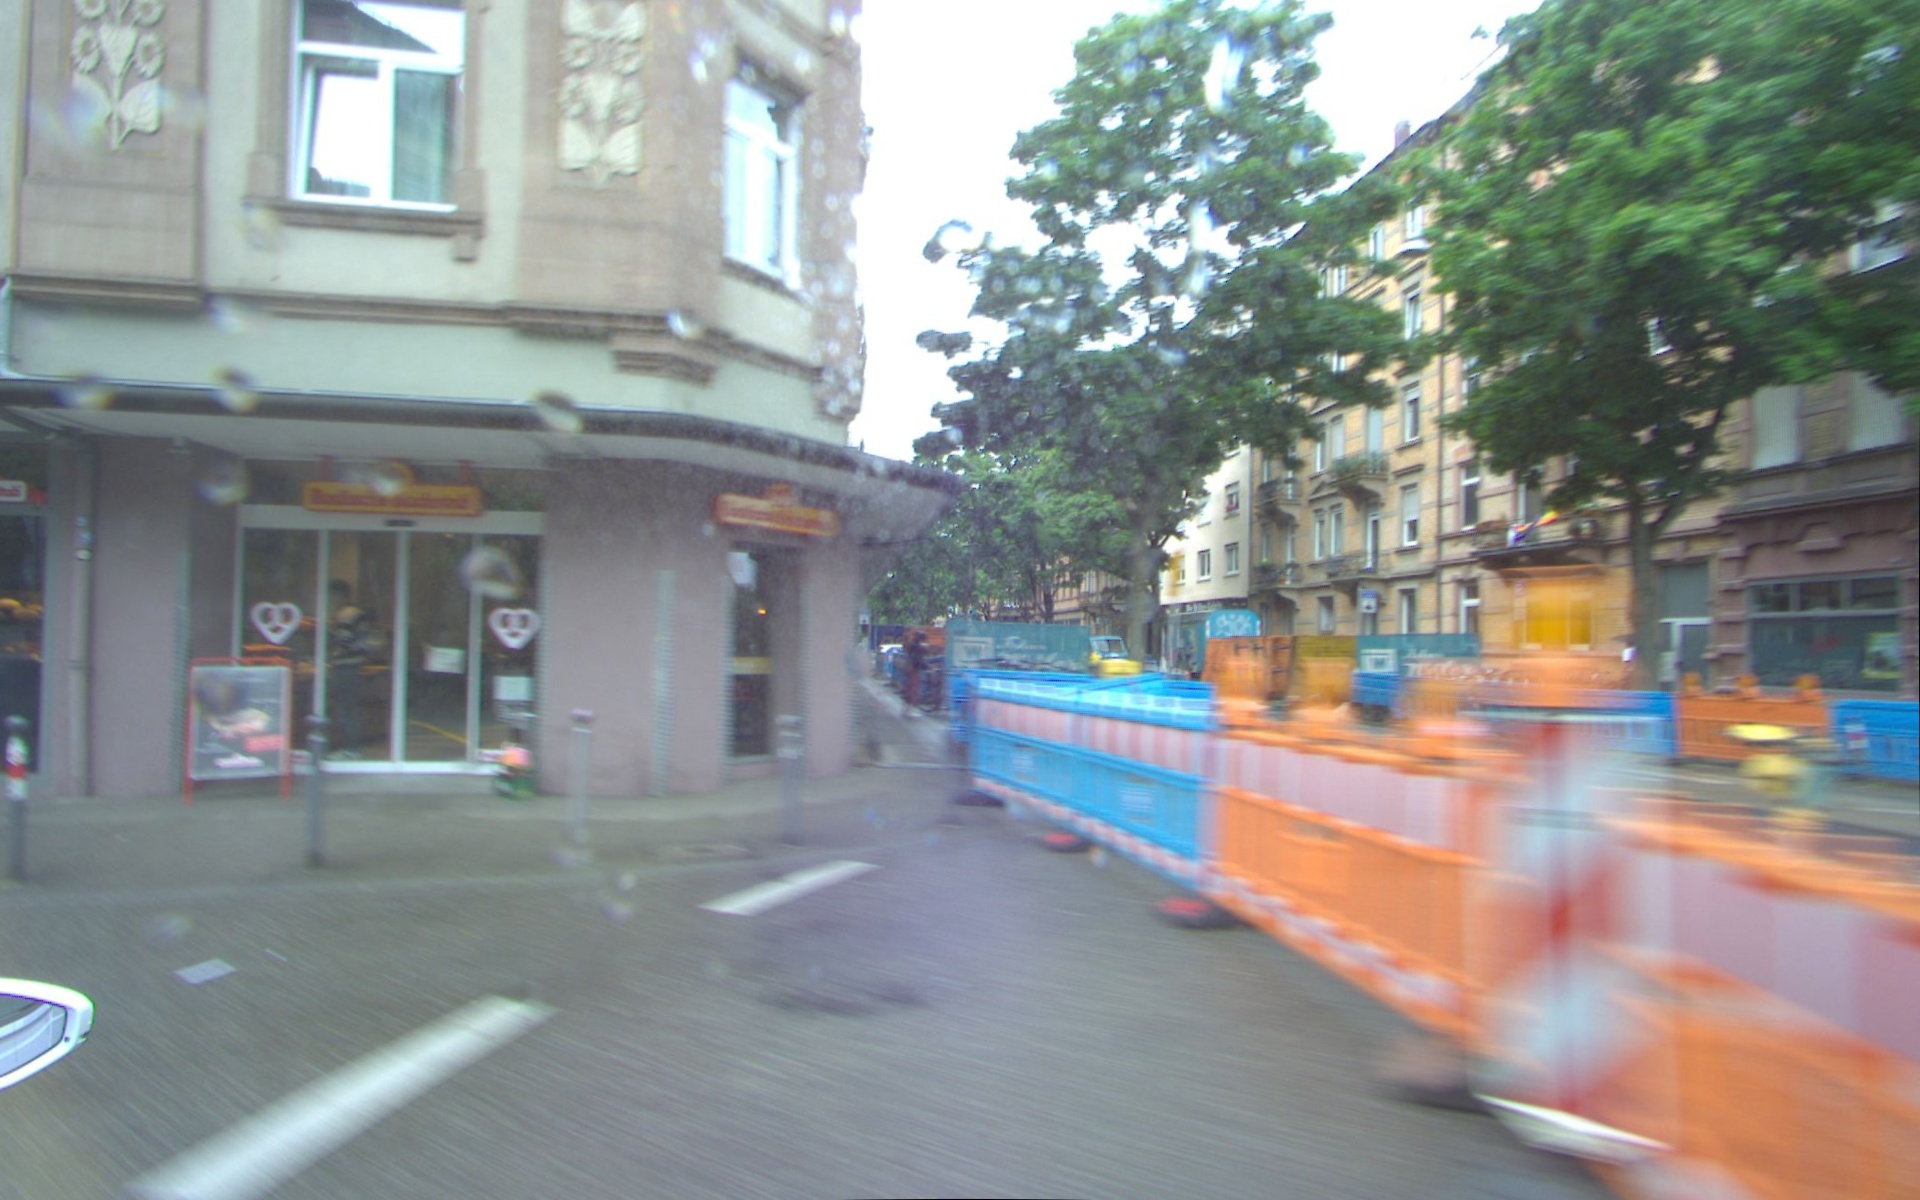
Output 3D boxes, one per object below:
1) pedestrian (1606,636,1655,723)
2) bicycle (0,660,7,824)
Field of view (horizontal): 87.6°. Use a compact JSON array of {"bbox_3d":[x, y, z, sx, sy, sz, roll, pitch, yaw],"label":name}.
[{"bbox_3d":[15.270,1.811,22.832,0.661,1.943,0.640,1,-2,-8],"label":"pedestrian"},{"bbox_3d":[-7.553,0.955,6.497,1.902,1.142,0.625,2,-1,-12],"label":"bicycle"}]
